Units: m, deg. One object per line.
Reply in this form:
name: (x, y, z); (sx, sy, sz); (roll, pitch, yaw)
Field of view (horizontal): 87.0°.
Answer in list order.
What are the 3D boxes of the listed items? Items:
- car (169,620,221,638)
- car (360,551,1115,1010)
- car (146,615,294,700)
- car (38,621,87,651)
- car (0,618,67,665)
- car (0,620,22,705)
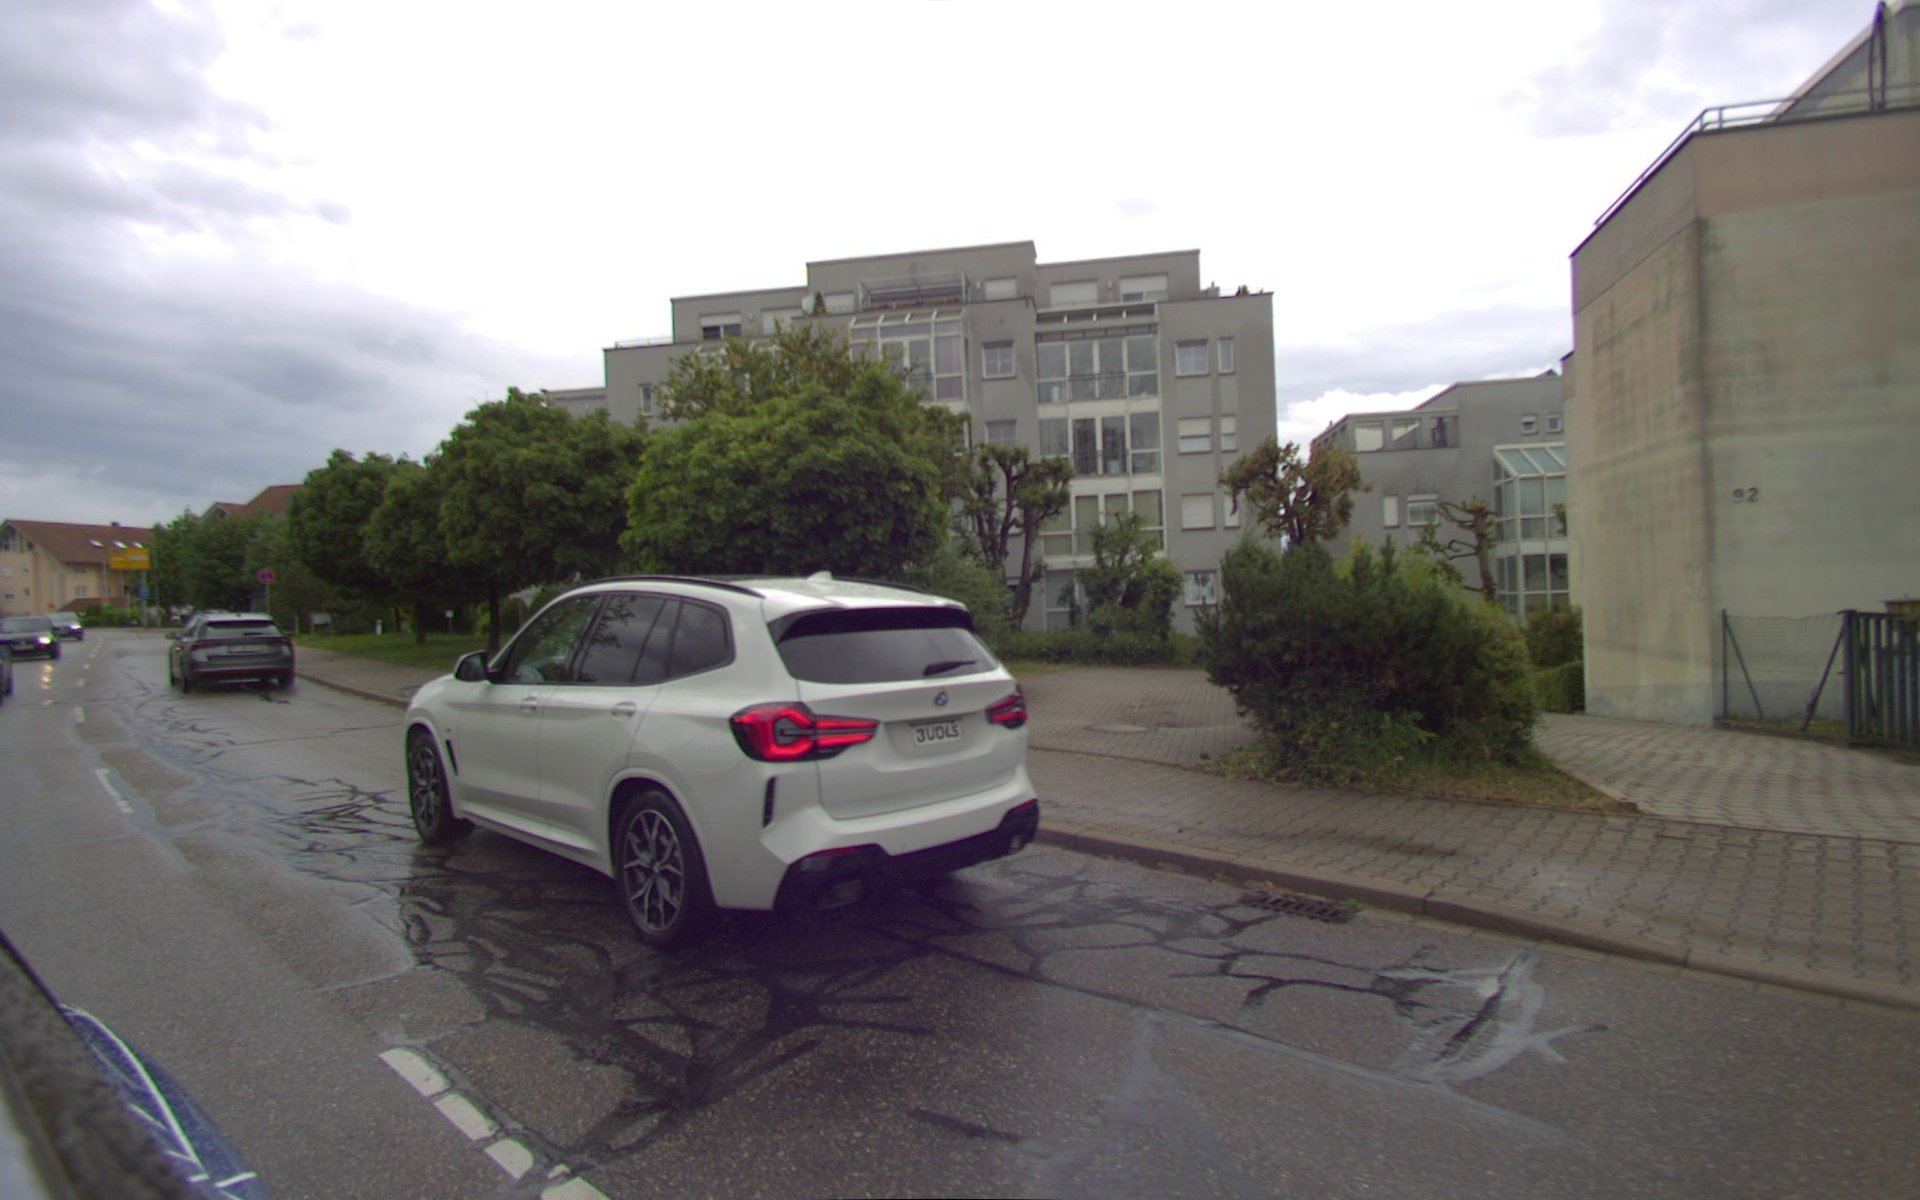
car: (-74.182, 2.847, 98.150); (3.955, 1.613, 1.733); (-1, 0, 9)
car: (-1.668, 0.645, 5.932); (4.865, 1.623, 1.870); (-1, 1, 43)
car: (-14.652, 1.059, 19.956); (1.721, 1.425, 4.144); (-2, 0, -45)
car: (-50.957, 2.039, 57.439); (1.815, 1.561, 4.002); (-3, 1, -45)
car: (-32.317, 1.414, 35.088); (1.813, 1.459, 4.007); (-3, 1, -39)
car: (-17.797, 1.114, 17.526); (1.884, 1.444, 4.309); (-2, 0, -38)
